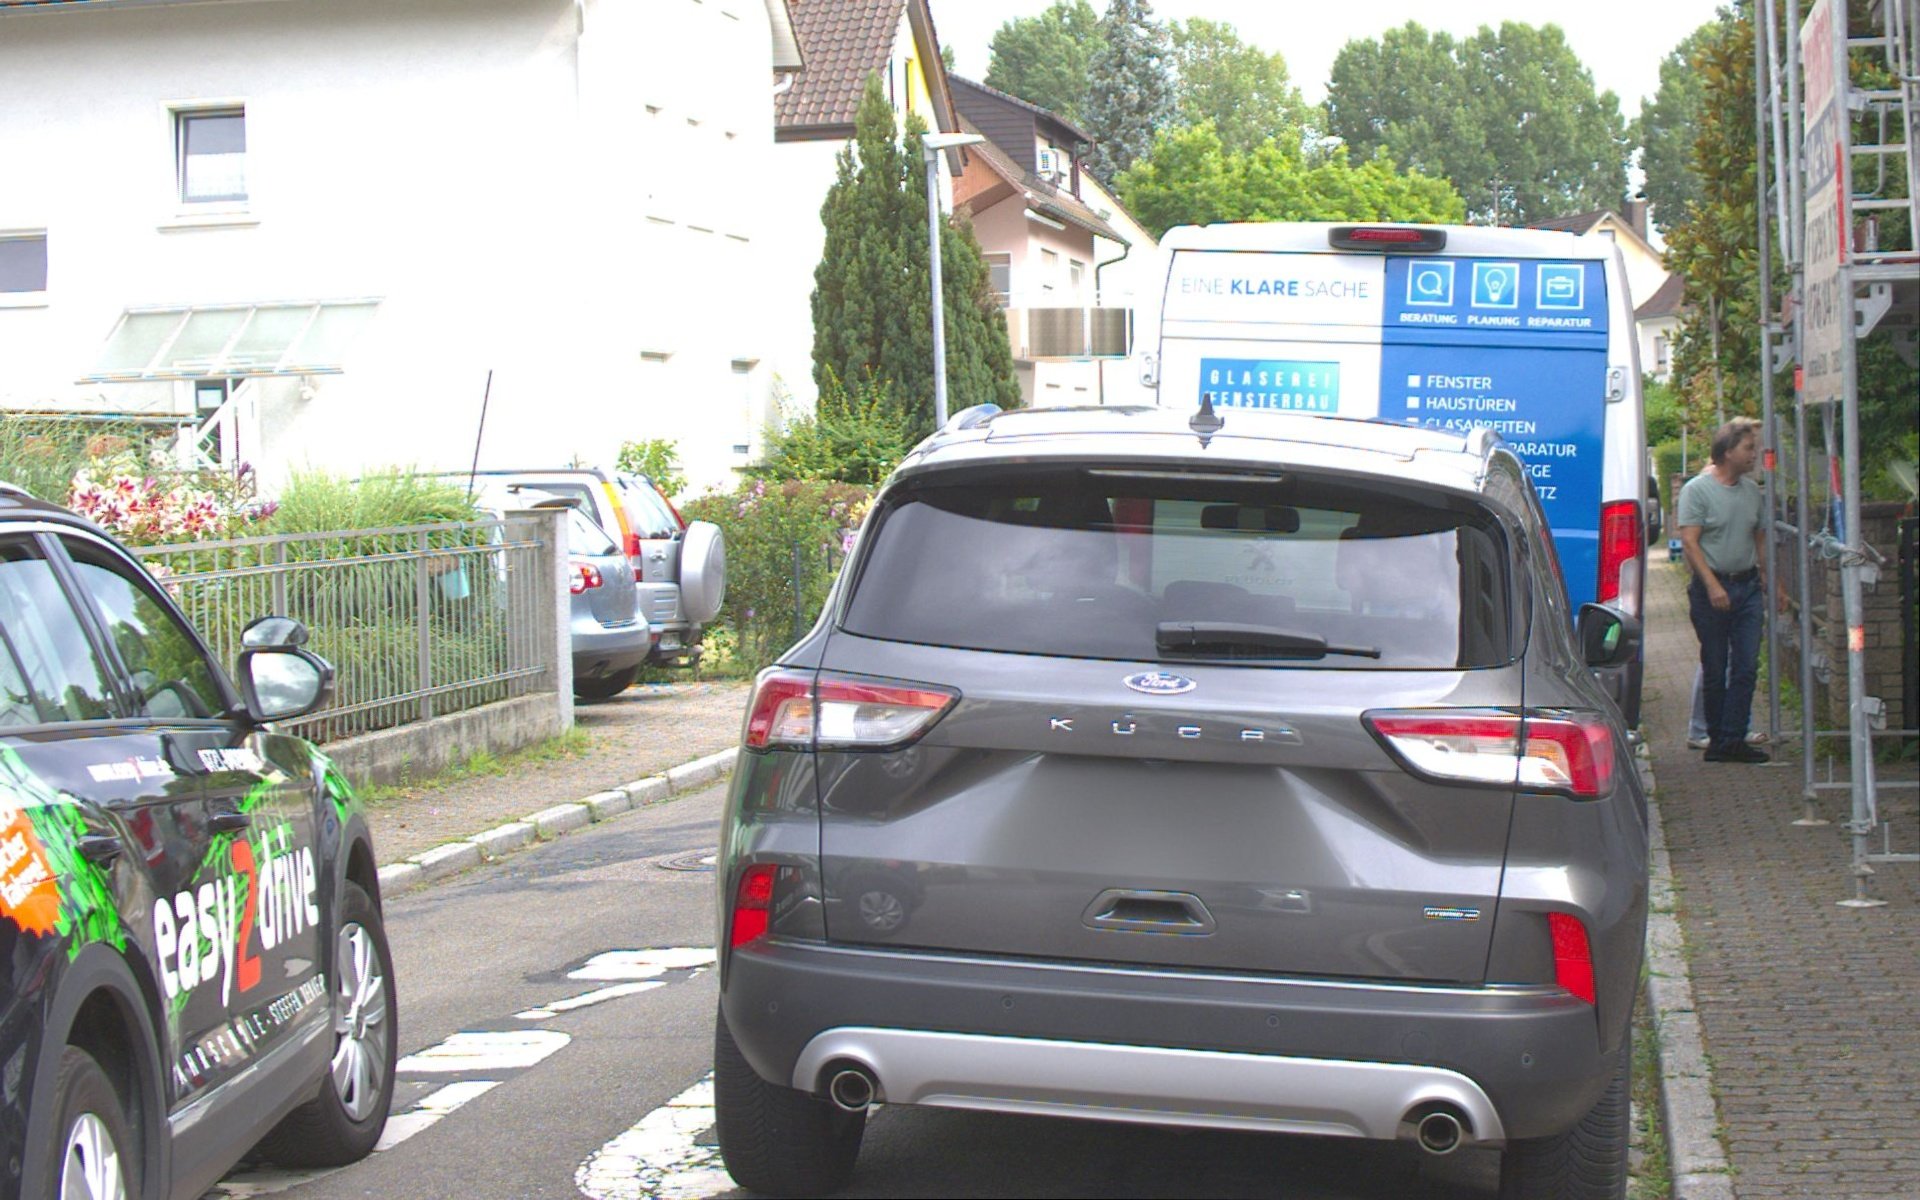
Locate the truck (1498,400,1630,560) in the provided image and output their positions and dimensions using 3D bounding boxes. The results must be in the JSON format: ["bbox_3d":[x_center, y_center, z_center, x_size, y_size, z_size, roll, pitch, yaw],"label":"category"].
[{"bbox_3d":[10.611,-2.131,60.653,2.130,2.648,4.583,-1,2,9],"label":"truck"}]

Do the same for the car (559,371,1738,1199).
[{"bbox_3d":[0.614,0.408,8.070,1.994,1.721,4.341,-2,2,8],"label":"car"}]

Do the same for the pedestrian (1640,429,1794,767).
[{"bbox_3d":[3.733,-0.013,16.985,0.623,1.623,0.603,-2,1,4],"label":"pedestrian"}]

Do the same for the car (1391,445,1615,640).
[{"bbox_3d":[5.304,-0.619,33.830,1.994,1.743,4.341,-2,2,8],"label":"car"}]

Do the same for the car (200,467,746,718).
[{"bbox_3d":[-3.482,-0.071,24.904,3.571,1.662,1.587,-2,2,7],"label":"car"}]

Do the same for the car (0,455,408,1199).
[{"bbox_3d":[-2.191,0.575,6.081,1.816,1.514,4.044,-3,1,-2],"label":"car"}]

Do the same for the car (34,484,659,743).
[{"bbox_3d":[-3.866,0.066,21.965,3.571,1.495,1.587,-2,2,7],"label":"car"}]

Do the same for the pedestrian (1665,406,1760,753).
[{"bbox_3d":[3.876,-0.107,17.728,0.407,1.756,0.513,-1,1,10],"label":"pedestrian"}]

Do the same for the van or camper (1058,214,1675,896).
[{"bbox_3d":[1.920,-0.253,15.126,2.193,2.450,5.053,-1,2,10],"label":"van or camper"}]

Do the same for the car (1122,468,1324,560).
[{"bbox_3d":[5.431,-1.760,70.710,3.988,1.766,1.870,-2,1,8],"label":"car"}]
